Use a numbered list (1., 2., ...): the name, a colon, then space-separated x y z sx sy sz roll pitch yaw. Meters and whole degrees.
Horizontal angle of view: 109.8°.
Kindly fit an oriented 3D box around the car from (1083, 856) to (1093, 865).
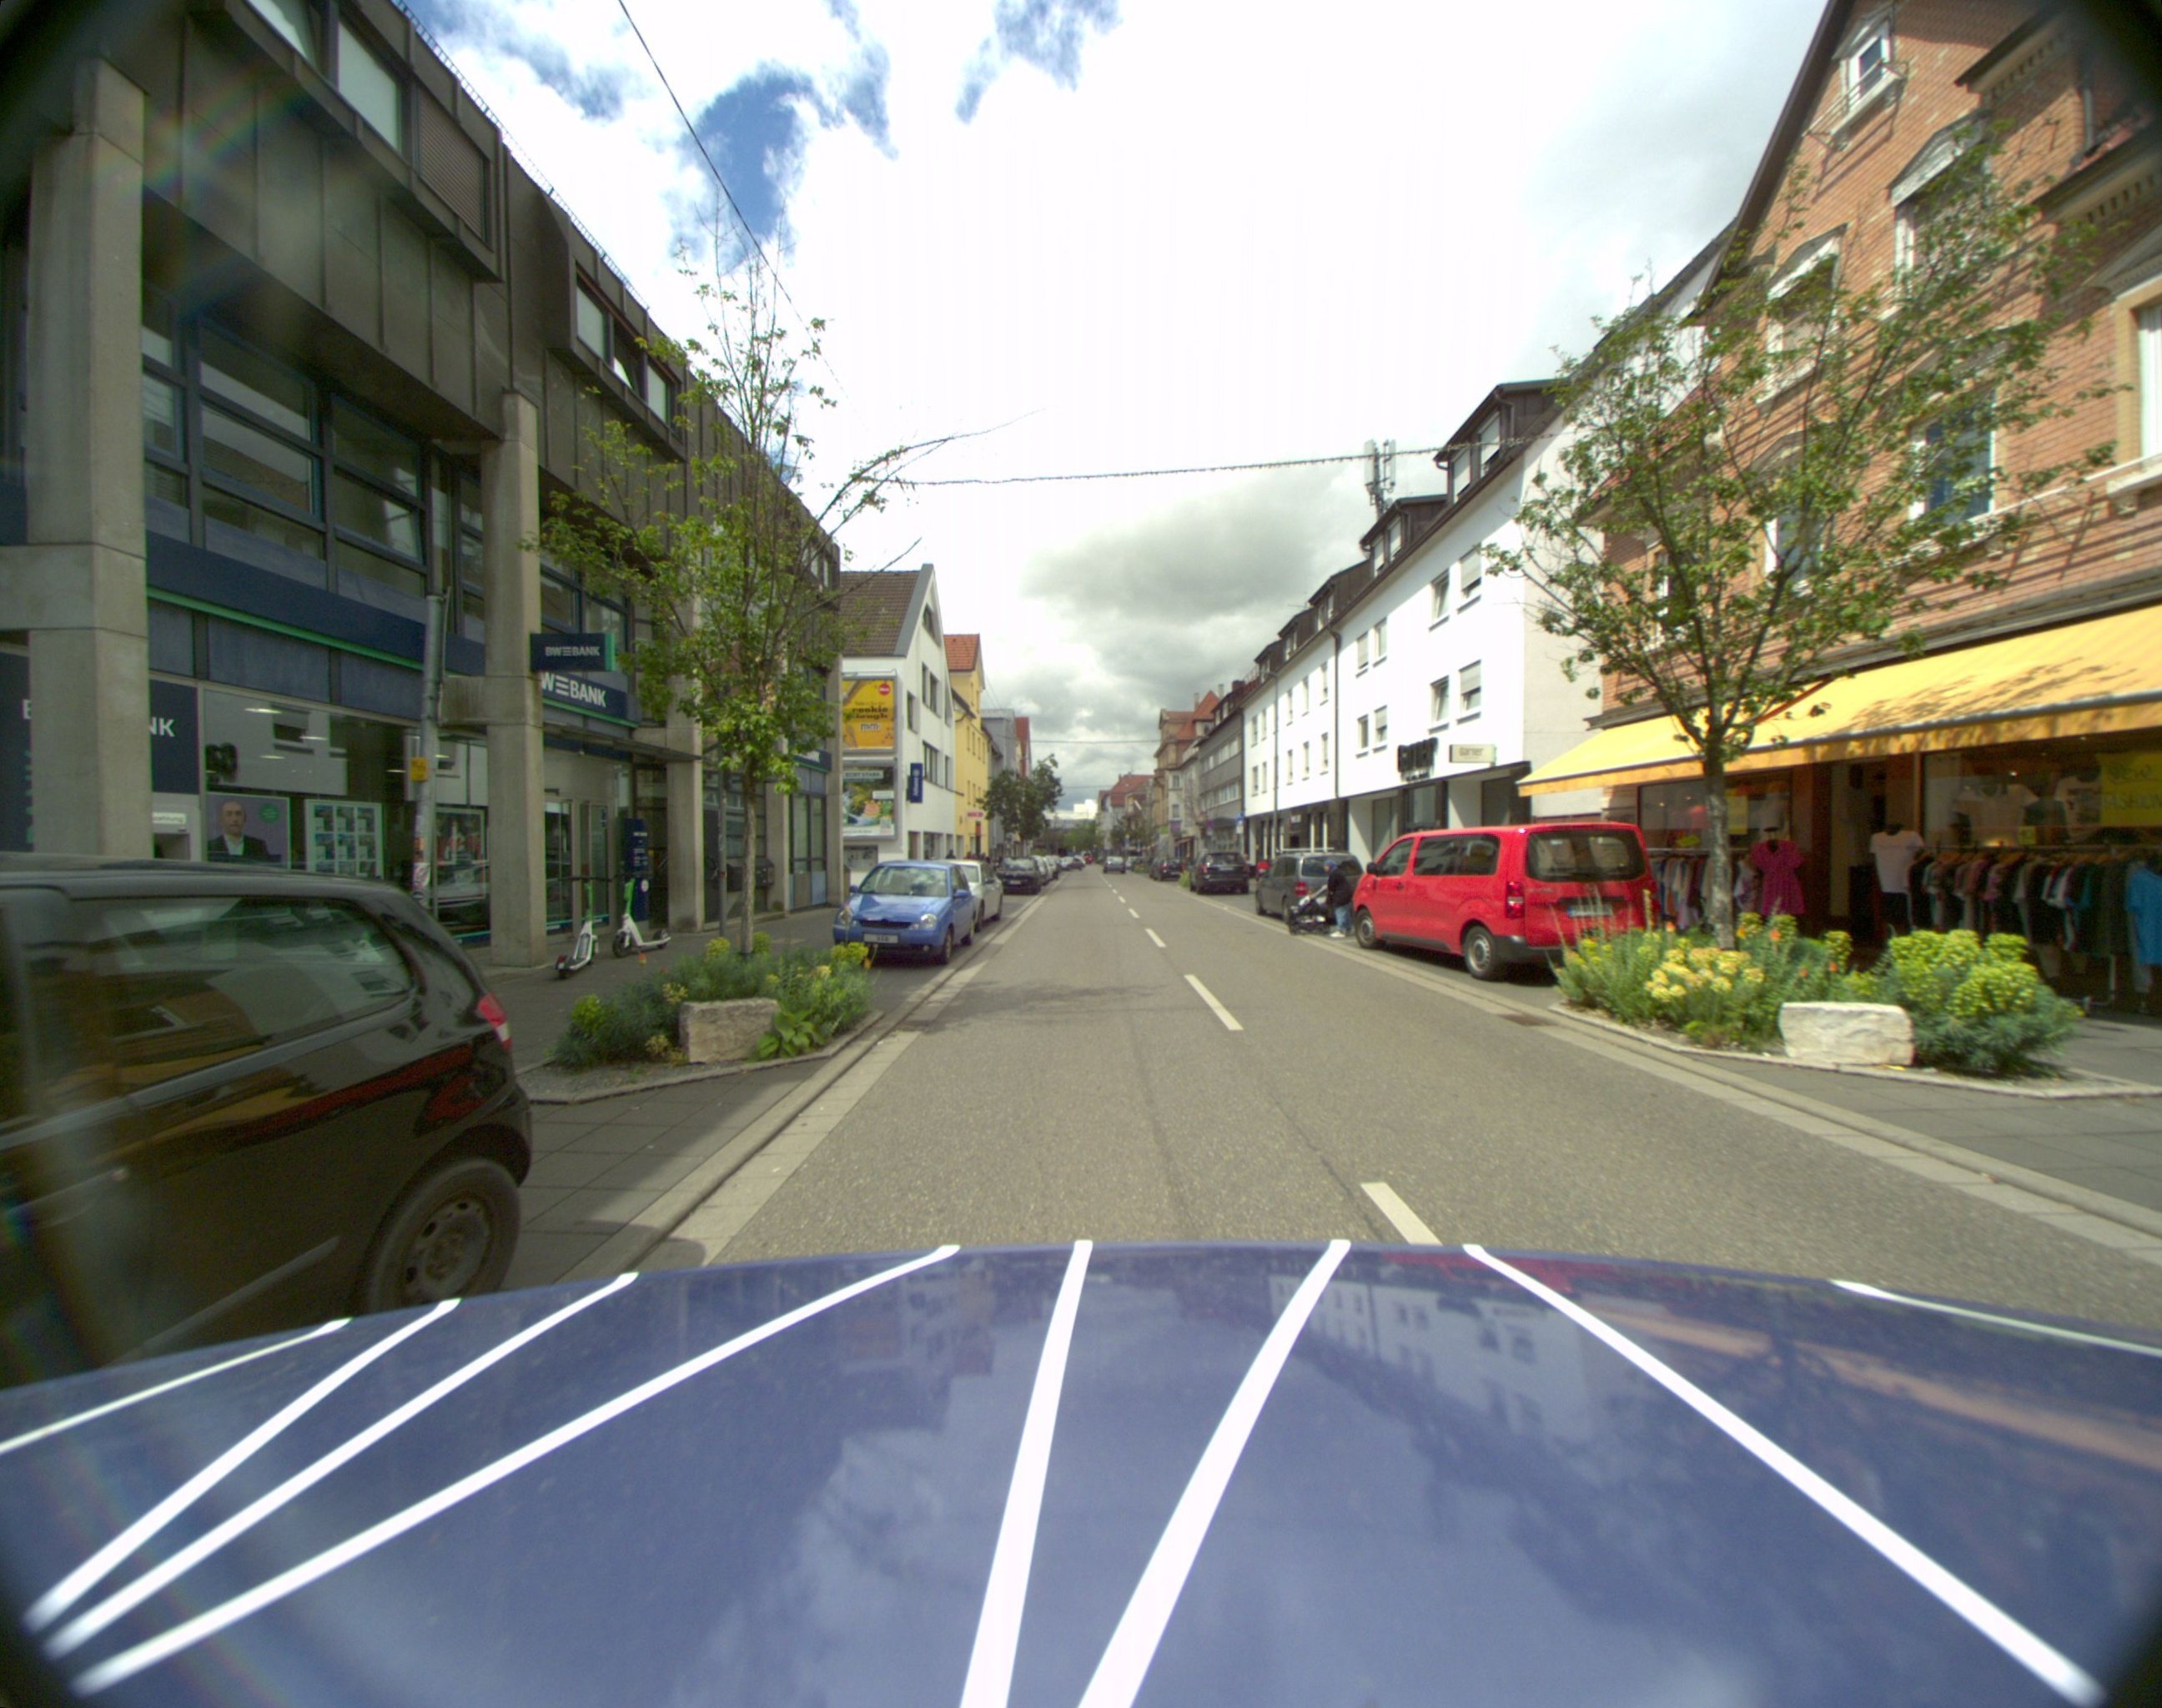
1. car: 1.254 1.123 135.074 1.536 1.521 3.757 -2 1 -2

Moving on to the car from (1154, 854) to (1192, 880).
1. car: 5.772 0.768 48.034 1.795 1.495 4.177 -2 1 0

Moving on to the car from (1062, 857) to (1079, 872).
1. car: -1.121 1.079 82.004 1.724 1.517 3.598 0 0 1

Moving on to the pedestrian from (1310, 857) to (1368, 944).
1. pedestrian: 4.851 0.858 14.323 0.807 1.565 0.779 -2 1 3

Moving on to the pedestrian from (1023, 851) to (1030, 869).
1. pedestrian: -5.460 0.594 75.954 0.537 1.708 0.606 -2 1 -1

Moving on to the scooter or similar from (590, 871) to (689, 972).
1. scooter or similar: -6.161 0.901 10.696 0.423 1.238 1.561 -2 1 0

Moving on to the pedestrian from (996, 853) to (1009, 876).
1. pedestrian: -5.209 0.680 50.389 0.751 1.544 0.726 0 1 0

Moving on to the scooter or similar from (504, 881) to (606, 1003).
1. scooter or similar: -6.093 0.976 8.873 0.406 1.238 1.323 -2 1 -10

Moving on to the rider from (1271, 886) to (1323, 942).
1. rider: 4.189 1.152 14.778 0.805 1.007 0.707 -2 1 3

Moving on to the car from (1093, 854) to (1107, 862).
1. car: 3.456 0.729 137.476 1.723 1.296 4.463 -1 -1 -9

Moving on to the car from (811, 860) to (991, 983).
1. car: -2.634 0.921 12.142 1.725 1.485 4.109 -2 1 2

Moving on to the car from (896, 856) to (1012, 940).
1. car: -2.715 0.894 17.254 1.725 1.567 4.429 -3 -1 2

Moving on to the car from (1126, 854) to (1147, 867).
1. car: 6.435 0.702 88.551 1.851 1.390 4.035 -2 1 -3

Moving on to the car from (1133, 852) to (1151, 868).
1. car: 6.165 0.594 77.376 1.590 1.406 3.668 -2 1 1

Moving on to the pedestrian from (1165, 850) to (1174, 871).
1. pedestrian: 7.696 0.545 66.039 0.549 1.747 0.728 -2 1 -3

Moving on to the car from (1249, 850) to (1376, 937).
1. car: 5.421 0.826 18.405 1.820 1.745 4.463 -2 1 2

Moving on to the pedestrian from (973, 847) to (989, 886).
1. pedestrian: -4.789 0.582 36.369 0.589 1.830 0.576 -2 1 1

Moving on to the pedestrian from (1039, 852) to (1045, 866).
1. pedestrian: -4.660 0.620 90.645 0.745 1.708 0.655 0 1 -1

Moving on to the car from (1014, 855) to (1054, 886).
1. car: -2.482 0.837 40.746 1.725 1.467 4.353 -2 1 1

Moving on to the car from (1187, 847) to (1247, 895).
1. car: 5.480 0.617 31.067 1.820 1.745 4.669 -2 1 3

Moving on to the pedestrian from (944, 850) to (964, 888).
1. pedestrian: -5.934 0.682 35.444 0.743 1.727 0.757 -2 1 1

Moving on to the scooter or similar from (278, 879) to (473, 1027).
1. scooter or similar: -6.943 0.918 7.585 0.423 1.238 1.561 -2 1 0

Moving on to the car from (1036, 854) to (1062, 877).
1. car: -2.182 0.821 52.124 1.694 1.463 4.523 -2 -1 -2

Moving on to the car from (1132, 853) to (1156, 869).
1. car: 5.997 0.654 72.816 1.602 1.437 3.554 -1 0 -7

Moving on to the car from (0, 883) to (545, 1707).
1. car: -2.785 0.882 0.843 1.613 1.523 3.795 1 0 2

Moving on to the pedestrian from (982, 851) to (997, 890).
1. pedestrian: -4.284 0.764 35.633 0.589 1.830 0.576 -2 1 1

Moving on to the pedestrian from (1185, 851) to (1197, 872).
1. pedestrian: 8.499 0.577 58.852 0.733 1.609 0.651 -2 1 -4

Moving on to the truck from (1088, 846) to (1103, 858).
1. truck: 2.821 -0.438 148.354 2.112 2.292 6.471 -2 1 -5

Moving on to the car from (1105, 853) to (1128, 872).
1. car: 3.146 0.743 68.472 1.910 1.554 4.645 -2 1 1

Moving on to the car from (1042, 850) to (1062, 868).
1. car: -2.677 0.467 71.695 1.804 1.594 4.203 1 0 -1

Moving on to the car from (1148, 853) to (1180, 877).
1. car: 5.904 0.726 54.465 1.794 1.504 4.712 -2 1 1

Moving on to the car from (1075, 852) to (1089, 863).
1. car: 0.159 0.487 107.793 1.804 1.594 4.203 1 0 -1

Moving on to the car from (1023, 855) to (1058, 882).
1. car: -2.432 0.854 46.714 1.634 1.467 4.957 -2 1 2

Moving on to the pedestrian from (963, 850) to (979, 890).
1. pedestrian: -5.144 0.723 35.597 0.589 1.830 0.576 -2 1 1

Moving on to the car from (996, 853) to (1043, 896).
1. car: -2.495 0.780 31.577 1.726 1.568 4.107 -2 1 -2

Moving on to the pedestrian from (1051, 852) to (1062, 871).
1. pedestrian: -2.373 0.743 74.506 0.978 1.853 0.864 1 1 -1

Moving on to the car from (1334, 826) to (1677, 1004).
1. car: 5.477 0.627 10.740 1.821 1.878 4.838 -2 1 -5
